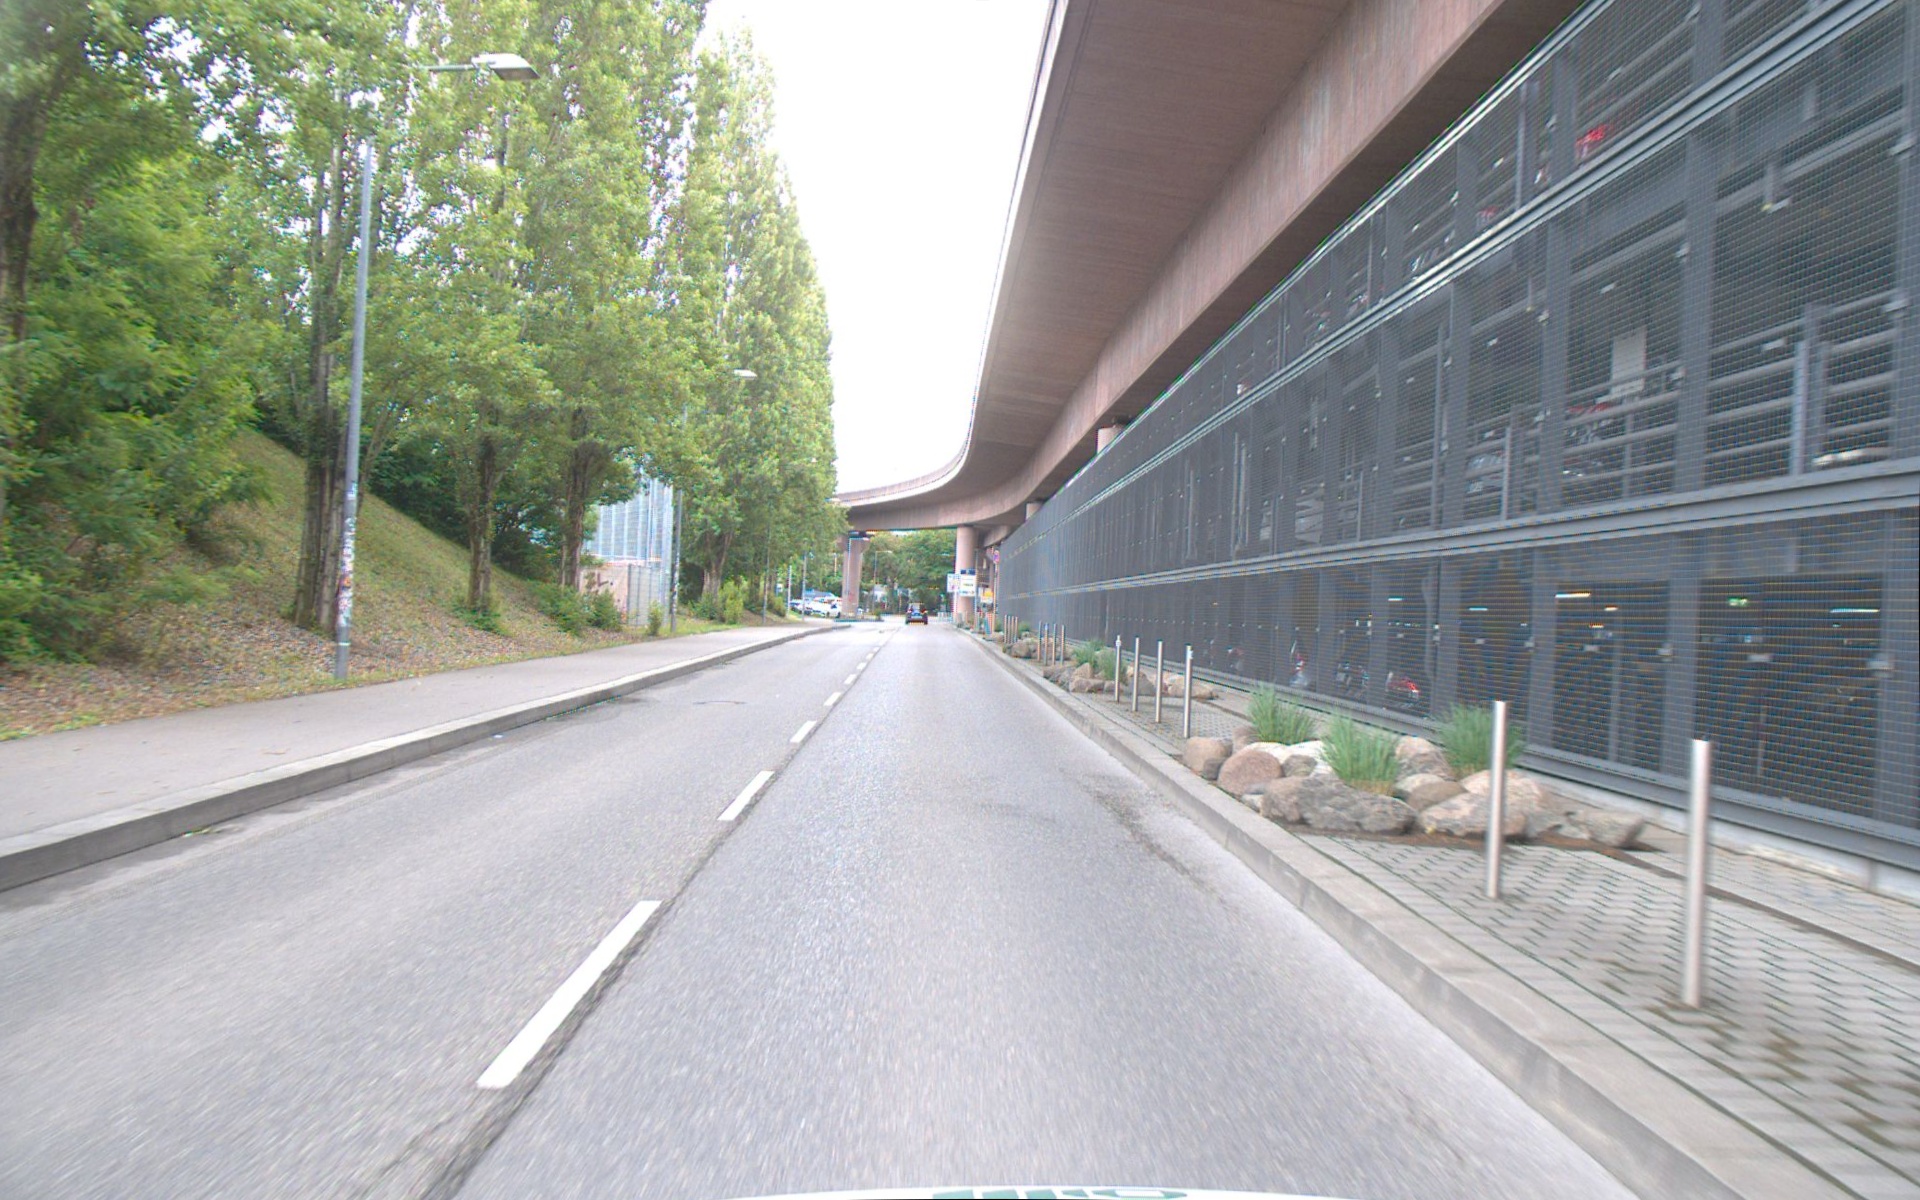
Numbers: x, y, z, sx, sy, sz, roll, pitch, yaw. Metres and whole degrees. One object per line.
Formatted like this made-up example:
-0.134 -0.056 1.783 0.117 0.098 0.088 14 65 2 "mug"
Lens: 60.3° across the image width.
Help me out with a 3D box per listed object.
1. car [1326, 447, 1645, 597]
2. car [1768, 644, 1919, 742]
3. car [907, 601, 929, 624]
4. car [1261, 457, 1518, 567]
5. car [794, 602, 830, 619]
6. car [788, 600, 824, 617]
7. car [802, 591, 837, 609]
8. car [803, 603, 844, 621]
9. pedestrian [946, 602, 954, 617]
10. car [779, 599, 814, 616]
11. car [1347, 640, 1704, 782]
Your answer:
7.377 -1.088 23.471 3.906 1.899 1.731 2 1 -1 "car"
17.651 1.776 31.230 3.906 1.643 1.722 3 0 0 "car"
-3.494 1.055 137.867 1.802 1.741 3.705 2 1 -1 "car"
7.288 -1.481 28.352 3.905 1.686 1.832 2 1 1 "car"
-15.675 1.120 175.533 1.693 1.746 3.654 3 1 39 "car"
-16.675 0.939 179.060 1.693 1.746 3.654 3 1 39 "car"
-17.316 -0.007 203.605 4.130 2.049 1.999 3 0 -3 "car"
-14.177 1.261 171.556 1.851 1.746 4.132 3 1 39 "car"
-1.351 1.306 221.506 0.762 1.909 0.815 1 1 -32 "pedestrian"
-17.992 0.830 182.290 1.774 1.746 3.654 3 1 39 "car"
7.178 1.391 21.262 3.907 1.492 1.810 3 0 -2 "car"
